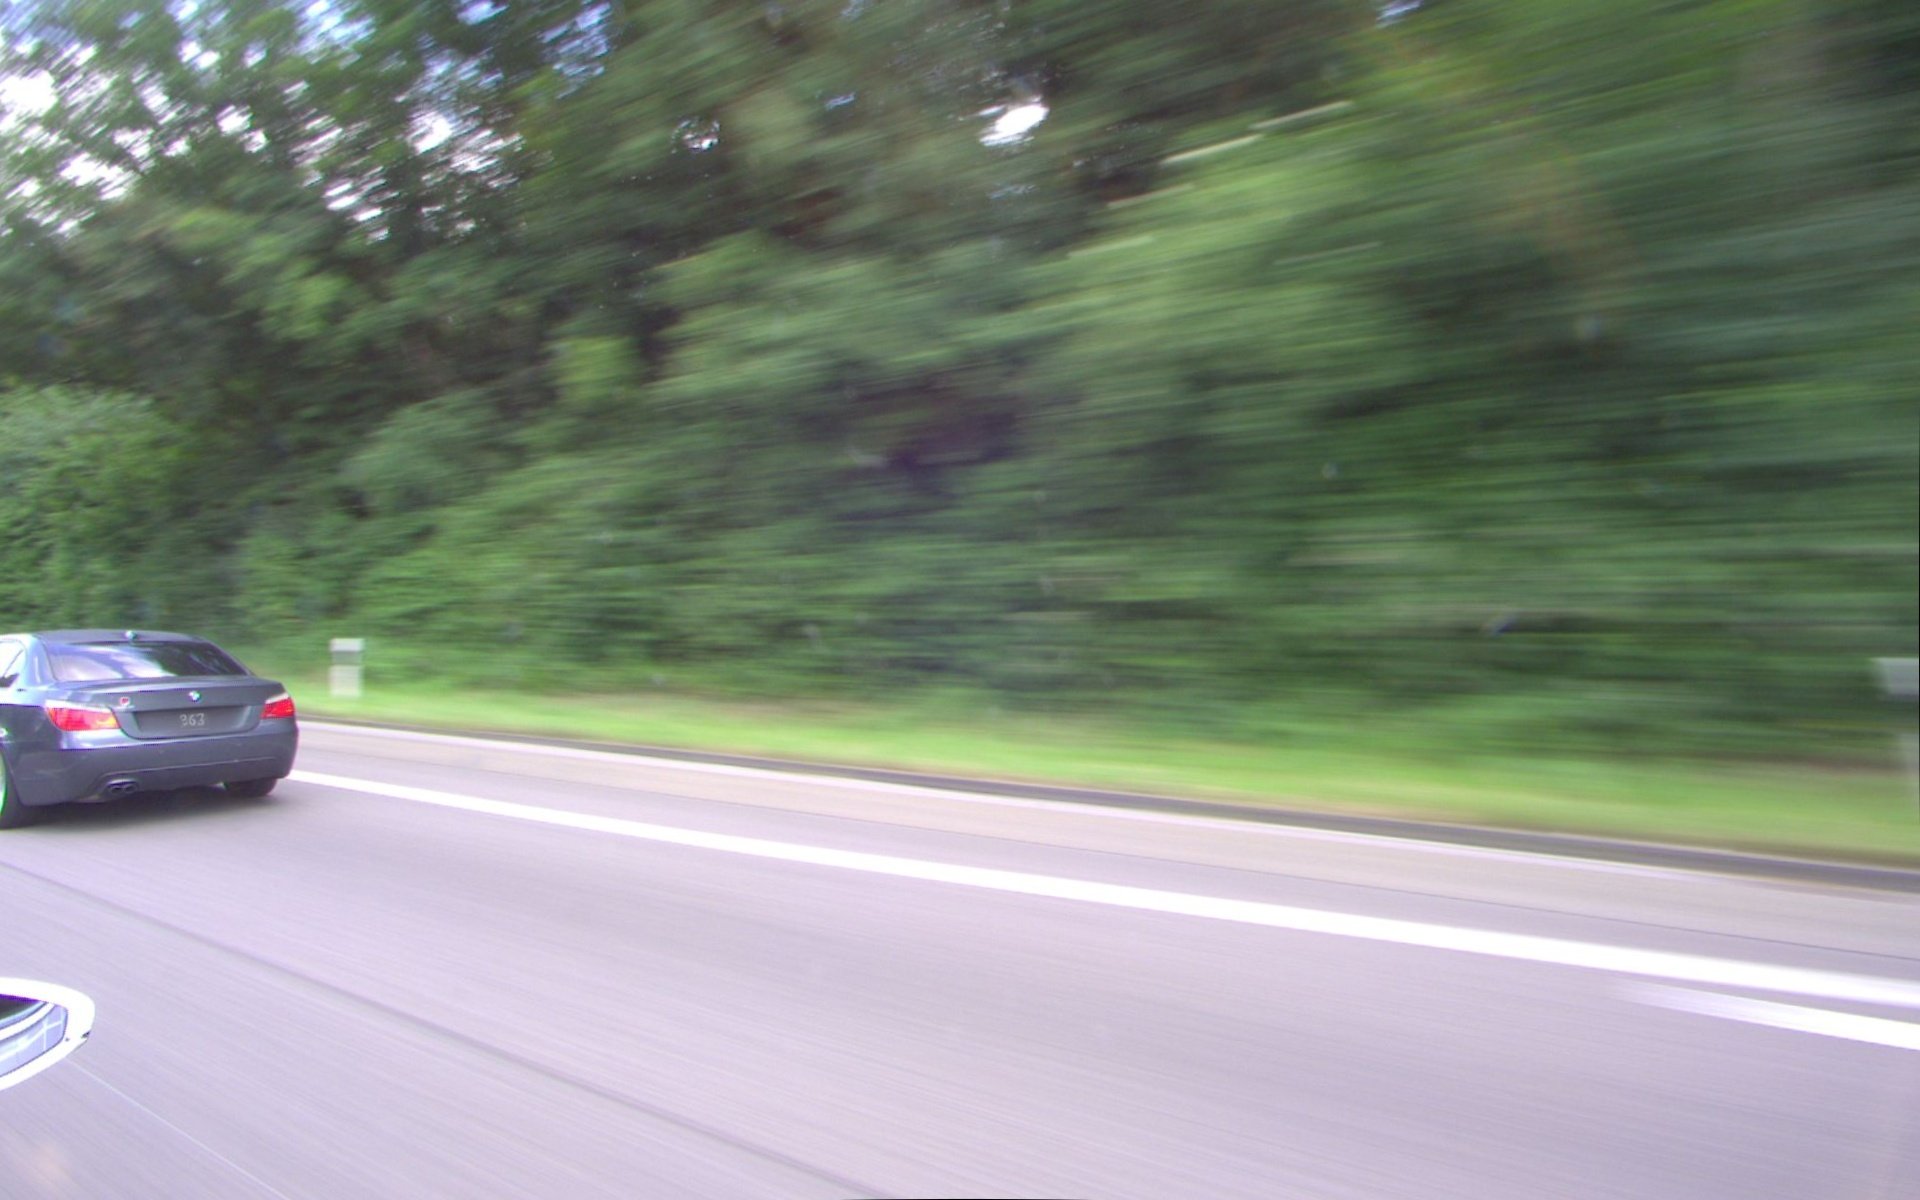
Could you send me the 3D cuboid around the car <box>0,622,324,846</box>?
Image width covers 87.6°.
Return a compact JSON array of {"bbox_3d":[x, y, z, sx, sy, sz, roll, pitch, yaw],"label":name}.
[{"bbox_3d":[-7.718,0.948,8.750,4.810,1.494,1.771,-1,-2,32],"label":"car"}]
